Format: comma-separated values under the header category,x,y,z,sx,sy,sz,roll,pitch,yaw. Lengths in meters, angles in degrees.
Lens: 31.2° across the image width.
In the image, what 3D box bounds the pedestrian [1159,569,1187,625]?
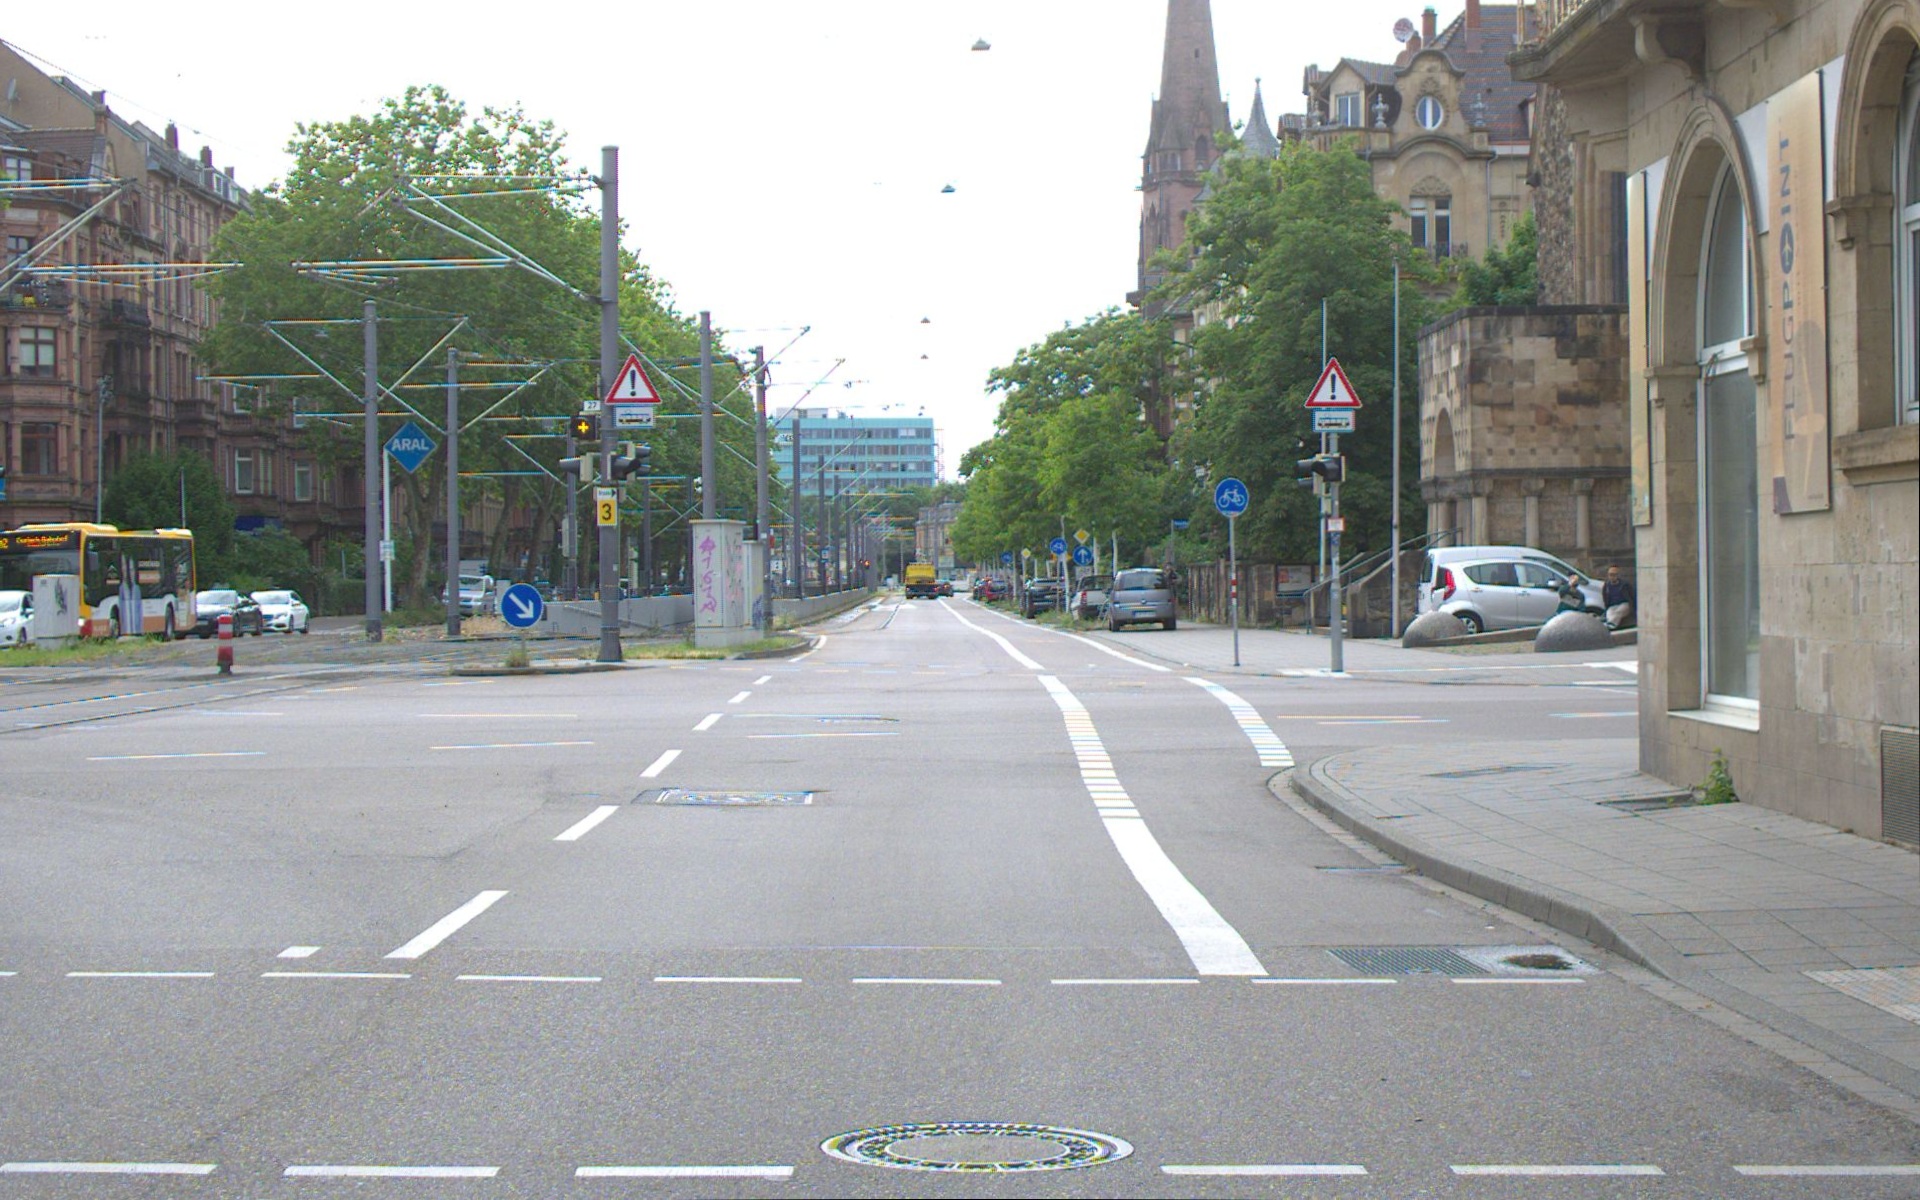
category,x,y,z,sx,sy,sz,roll,pitch,yaw
pedestrian,6.211,-0.089,100.357,0.776,1.641,0.798,1,0,6

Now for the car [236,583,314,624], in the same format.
category,x,y,z,sx,sy,sz,roll,pitch,yaw
car,-21.780,0.101,109.422,1.702,1.217,3.890,1,1,0

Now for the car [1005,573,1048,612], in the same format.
category,x,y,z,sx,sy,sz,roll,pitch,yaw
car,3.327,-0.388,172.326,1.993,1.875,4.000,0,1,-1

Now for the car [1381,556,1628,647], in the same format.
category,x,y,z,sx,sy,sz,roll,pitch,yaw
car,10.222,0.014,64.755,4.348,1.630,1.663,1,0,-1

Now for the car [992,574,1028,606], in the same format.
category,x,y,z,sx,sy,sz,roll,pitch,yaw
car,3.048,-0.603,210.499,1.993,1.919,4.000,1,1,-2

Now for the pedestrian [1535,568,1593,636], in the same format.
category,x,y,z,sx,sy,sz,roll,pitch,yaw
pedestrian,10.683,0.032,60.865,0.736,1.187,1.493,1,0,0

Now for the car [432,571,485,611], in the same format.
category,x,y,z,sx,sy,sz,roll,pitch,yaw
car,-21.771,-0.400,149.341,1.702,1.706,3.890,1,1,0

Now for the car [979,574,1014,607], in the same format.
category,x,y,z,sx,sy,sz,roll,pitch,yaw
car,2.309,-0.627,218.194,1.993,2.007,4.000,1,1,-2

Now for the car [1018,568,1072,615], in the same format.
category,x,y,z,sx,sy,sz,roll,pitch,yaw
car,3.339,-0.355,136.094,1.993,1.814,4.000,0,1,-1

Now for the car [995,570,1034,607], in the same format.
category,x,y,z,sx,sy,sz,roll,pitch,yaw
car,3.004,-0.655,190.787,1.993,2.007,4.000,1,1,-2

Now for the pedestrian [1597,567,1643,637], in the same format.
category,x,y,z,sx,sy,sz,roll,pitch,yaw
pedestrian,11.763,0.029,61.259,0.737,1.224,1.062,1,0,14

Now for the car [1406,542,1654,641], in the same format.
category,x,y,z,sx,sy,sz,roll,pitch,yaw
car,11.287,-0.179,68.215,4.610,1.875,1.663,1,0,-1

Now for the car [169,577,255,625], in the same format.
category,x,y,z,sx,sy,sz,roll,pitch,yaw
car,-22.223,0.015,102.310,1.702,1.354,3.890,1,1,0

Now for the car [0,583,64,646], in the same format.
category,x,y,z,sx,sy,sz,roll,pitch,yaw
car,-22.002,0.312,79.174,1.702,1.393,3.890,1,1,0
